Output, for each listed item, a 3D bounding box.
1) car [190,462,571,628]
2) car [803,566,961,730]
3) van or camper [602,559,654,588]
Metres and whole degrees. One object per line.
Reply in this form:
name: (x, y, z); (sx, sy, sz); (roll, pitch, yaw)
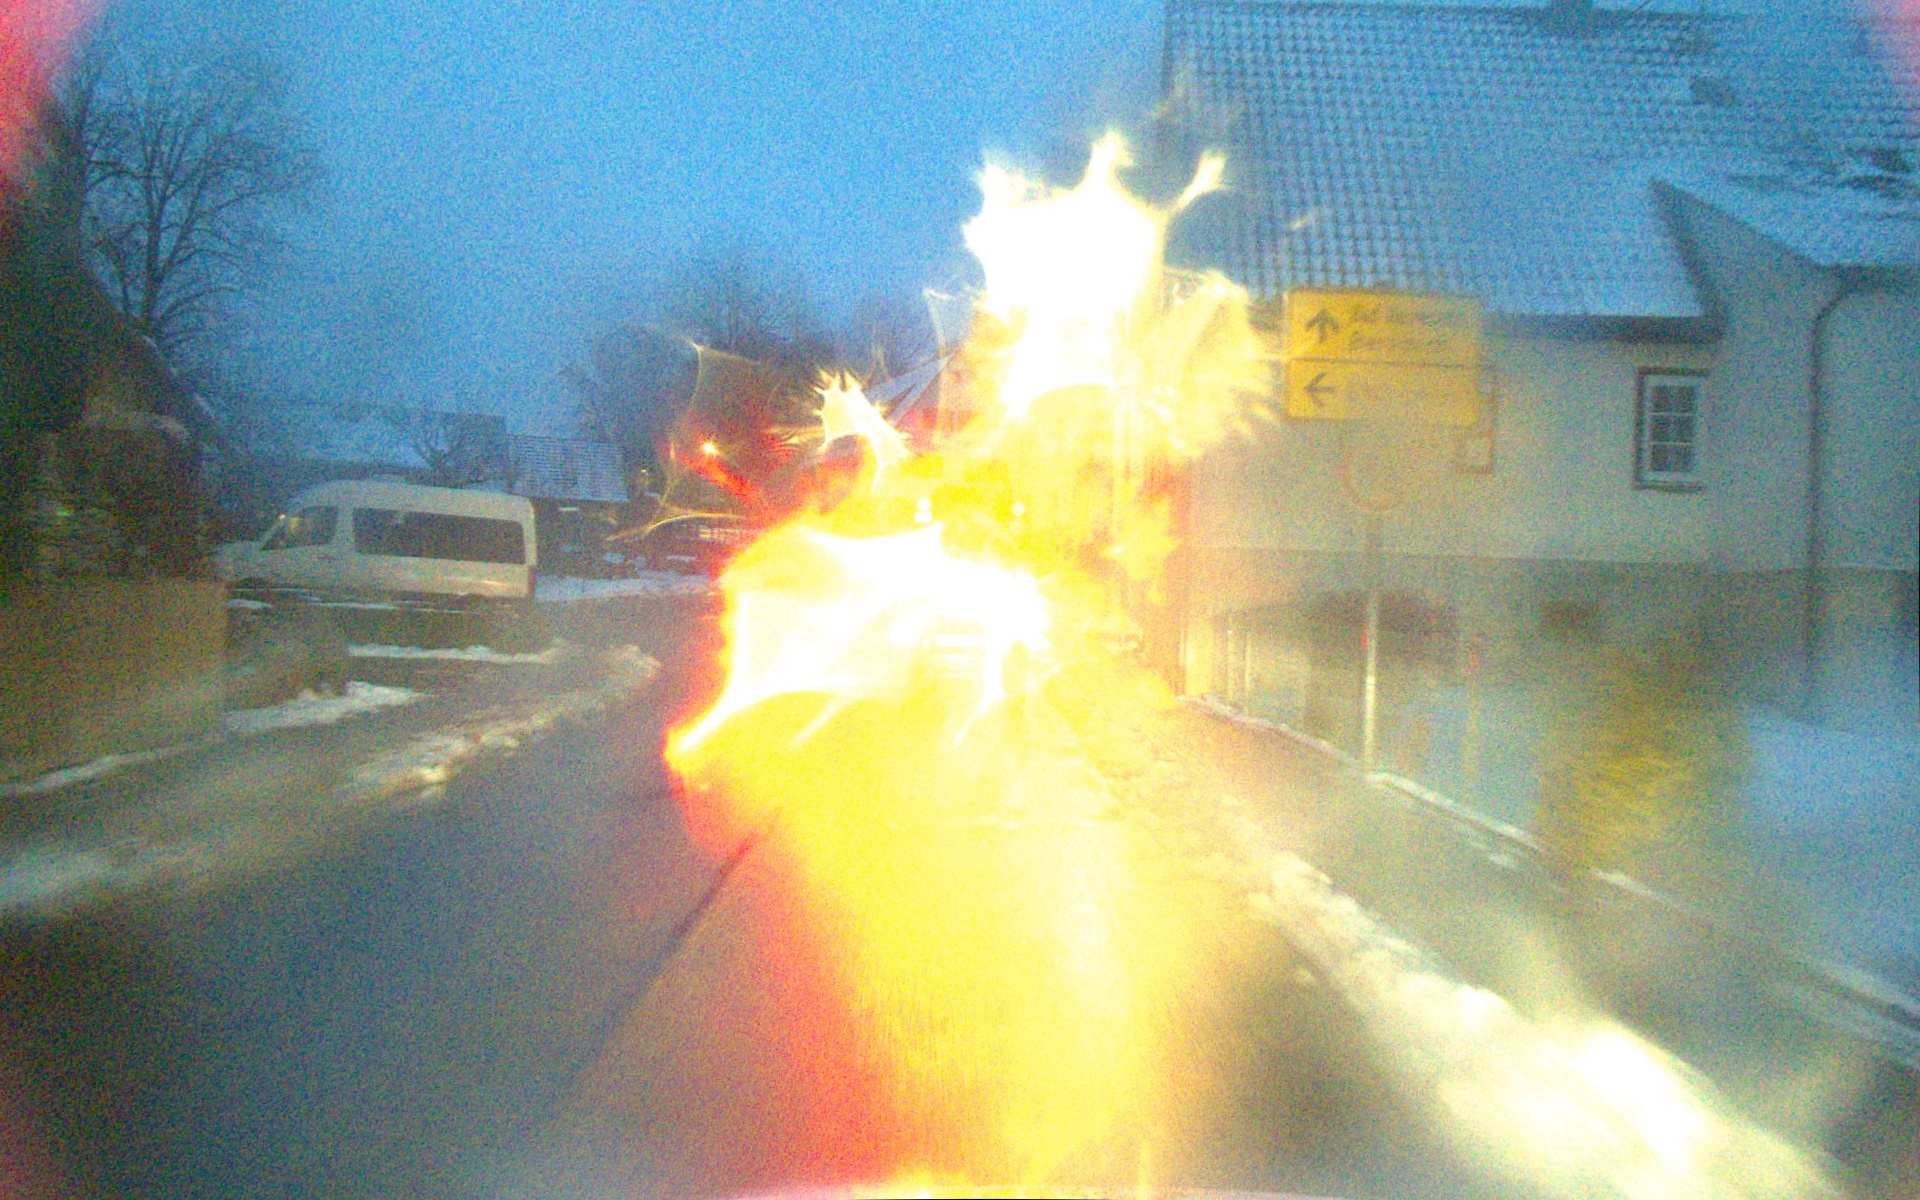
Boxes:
car: (-10.150, -0.868, 29.230); (6.037, 2.598, 1.978); (2, -1, -32)
car: (-0.982, 0.516, 20.712); (1.786, 1.828, 3.576); (-1, 2, -3)
van or camper: (-13.697, -1.079, 68.136); (1.267, 1.121, 3.244); (2, -1, -27)
